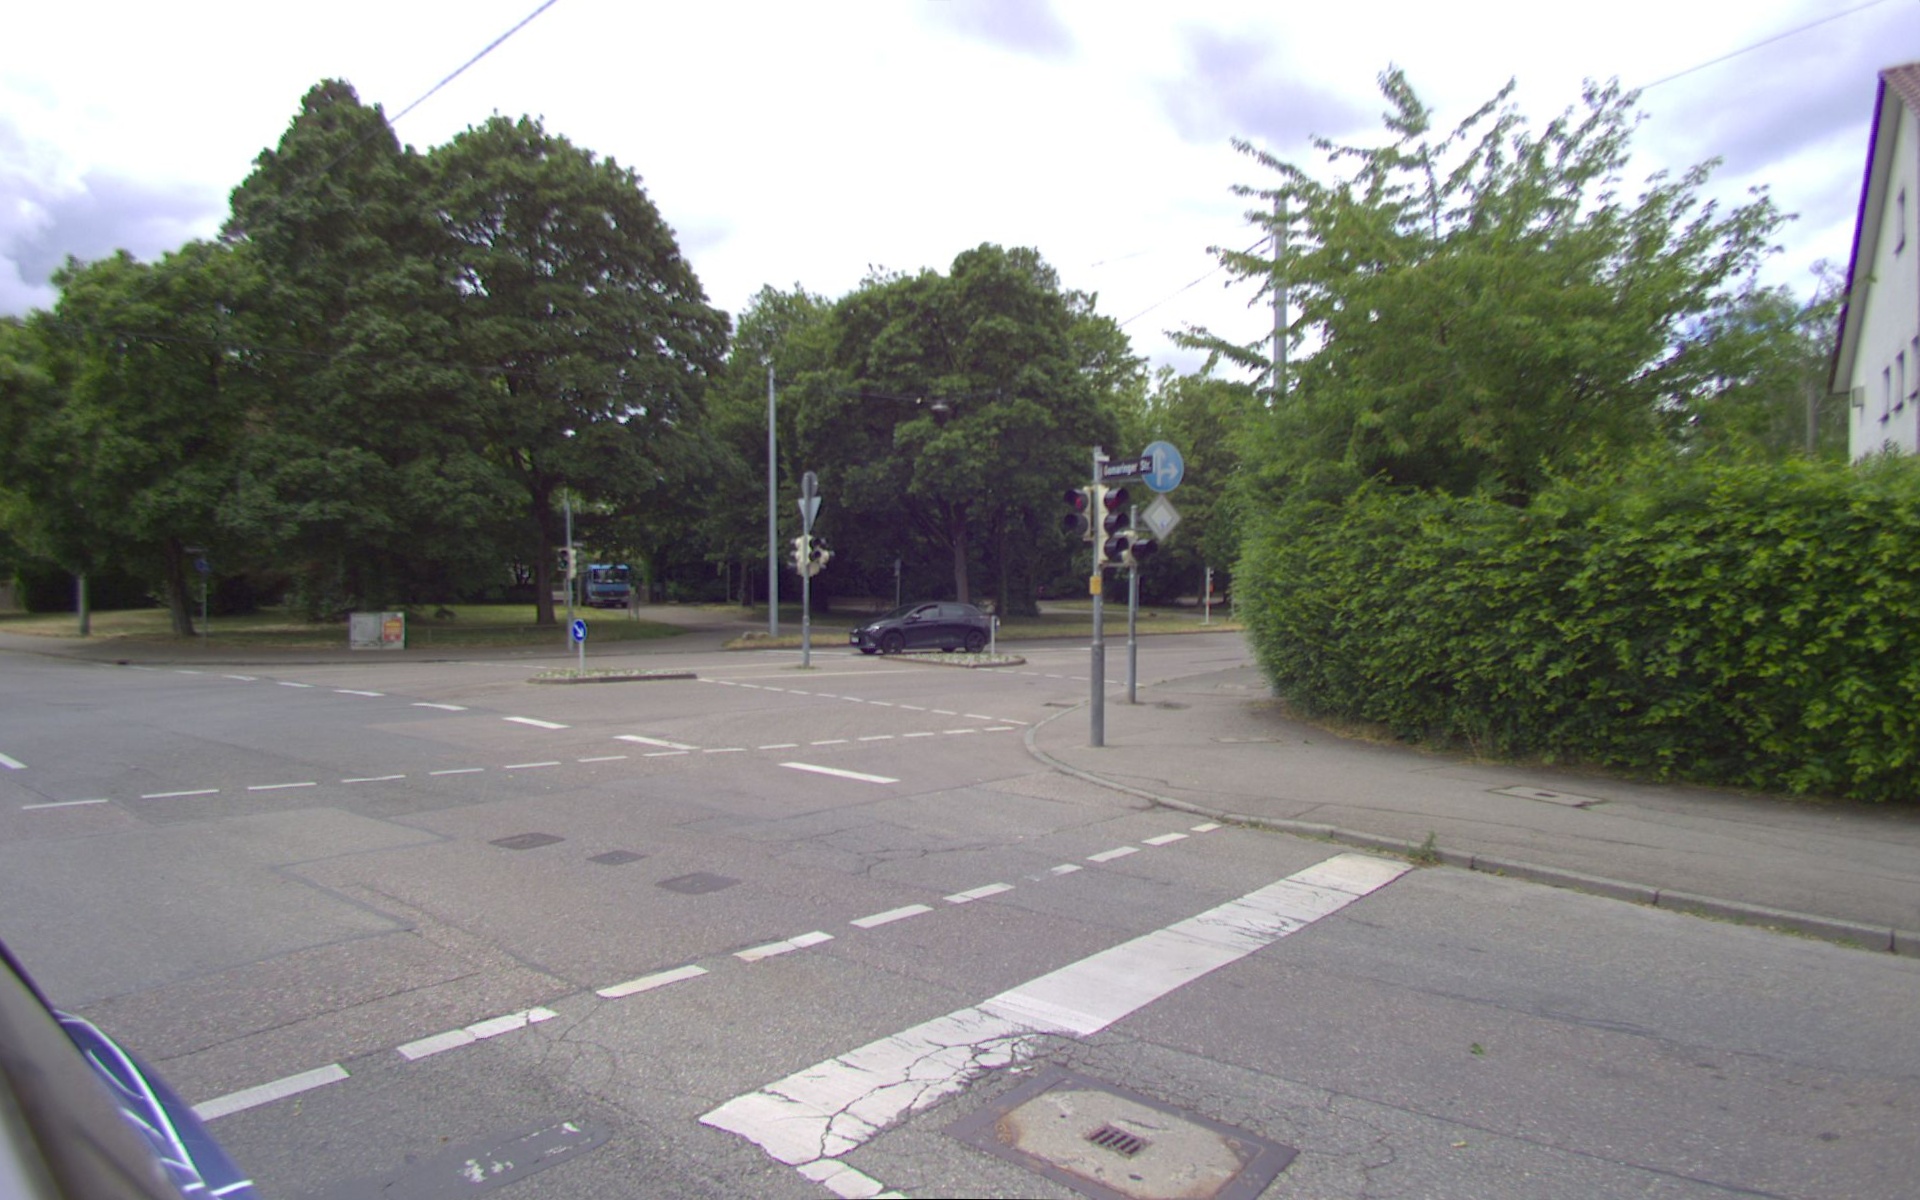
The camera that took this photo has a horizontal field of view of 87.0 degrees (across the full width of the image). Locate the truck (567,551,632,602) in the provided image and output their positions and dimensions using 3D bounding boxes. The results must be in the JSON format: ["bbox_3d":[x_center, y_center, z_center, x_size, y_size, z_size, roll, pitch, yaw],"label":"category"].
[{"bbox_3d":[-21.593,-1.393,60.396,2.440,2.868,7.456,-1,1,-29],"label":"truck"}]

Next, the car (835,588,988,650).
[{"bbox_3d":[-1.404,0.498,29.235,3.931,1.630,2.006,-1,1,-29],"label":"car"}]
